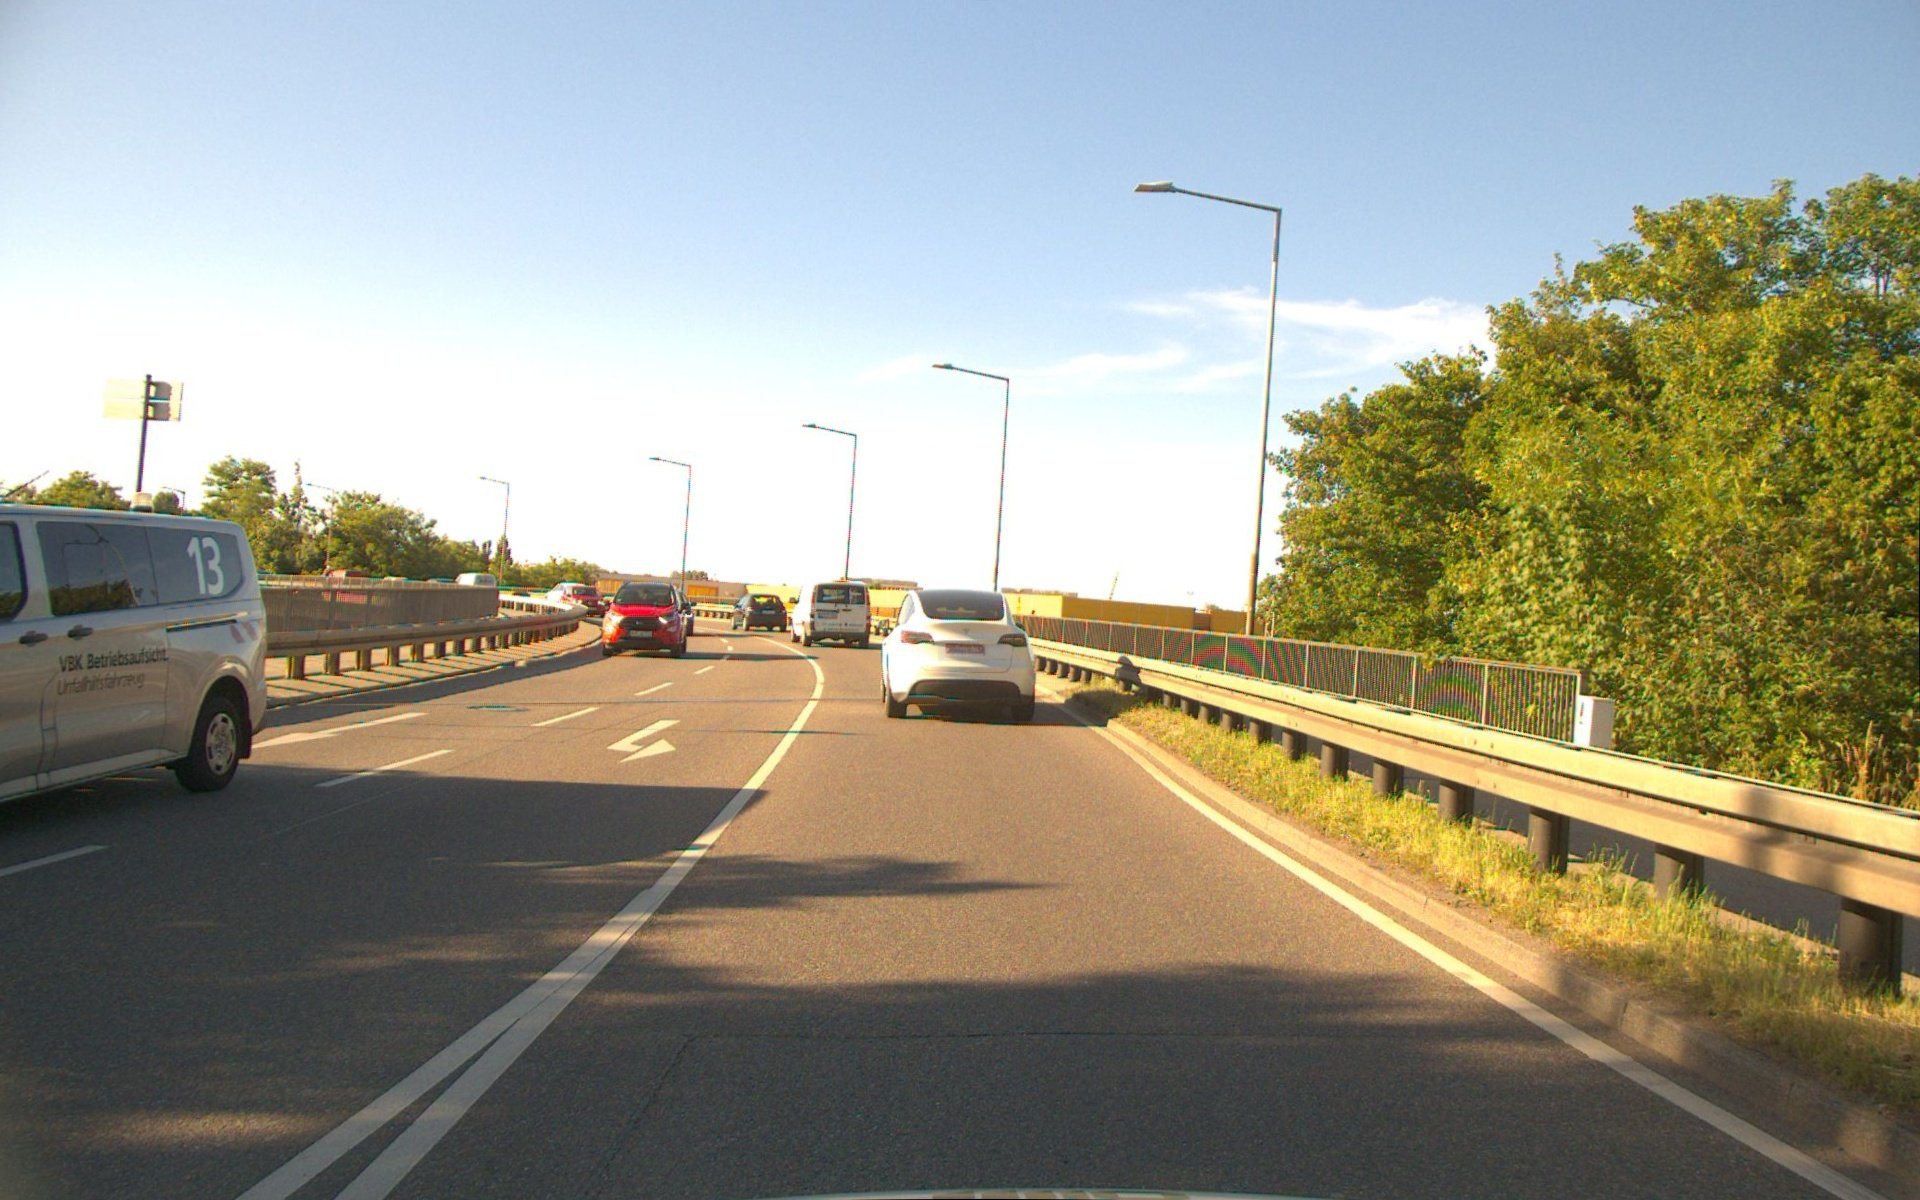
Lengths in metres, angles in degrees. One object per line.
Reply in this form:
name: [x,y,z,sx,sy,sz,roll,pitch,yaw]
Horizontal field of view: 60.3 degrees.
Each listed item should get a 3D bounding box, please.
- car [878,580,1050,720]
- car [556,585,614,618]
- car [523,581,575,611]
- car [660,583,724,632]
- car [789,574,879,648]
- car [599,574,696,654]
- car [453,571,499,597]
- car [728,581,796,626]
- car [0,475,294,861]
car: [-0.052,0.605,22.018,1.946,1.666,4.059,1,0,-5]
car: [-18.006,0.068,79.312,1.760,1.462,3.841,2,0,-27]
car: [-24.393,-0.241,98.149,1.842,1.612,3.870,2,0,-33]
car: [-8.921,0.222,55.318,1.690,1.512,4.403,2,0,-5]
car: [-3.707,0.284,47.941,1.970,1.974,4.454,2,0,-12]
car: [-7.087,0.296,37.854,1.769,1.666,3.995,2,0,-6]
car: [-32.395,-1.079,110.678,1.820,1.583,3.845,2,0,-35]
car: [-7.627,0.128,63.498,1.937,1.666,3.981,1,0,-17]
car: [-6.261,0.371,10.291,1.908,2.149,5.272,0,0,2]
